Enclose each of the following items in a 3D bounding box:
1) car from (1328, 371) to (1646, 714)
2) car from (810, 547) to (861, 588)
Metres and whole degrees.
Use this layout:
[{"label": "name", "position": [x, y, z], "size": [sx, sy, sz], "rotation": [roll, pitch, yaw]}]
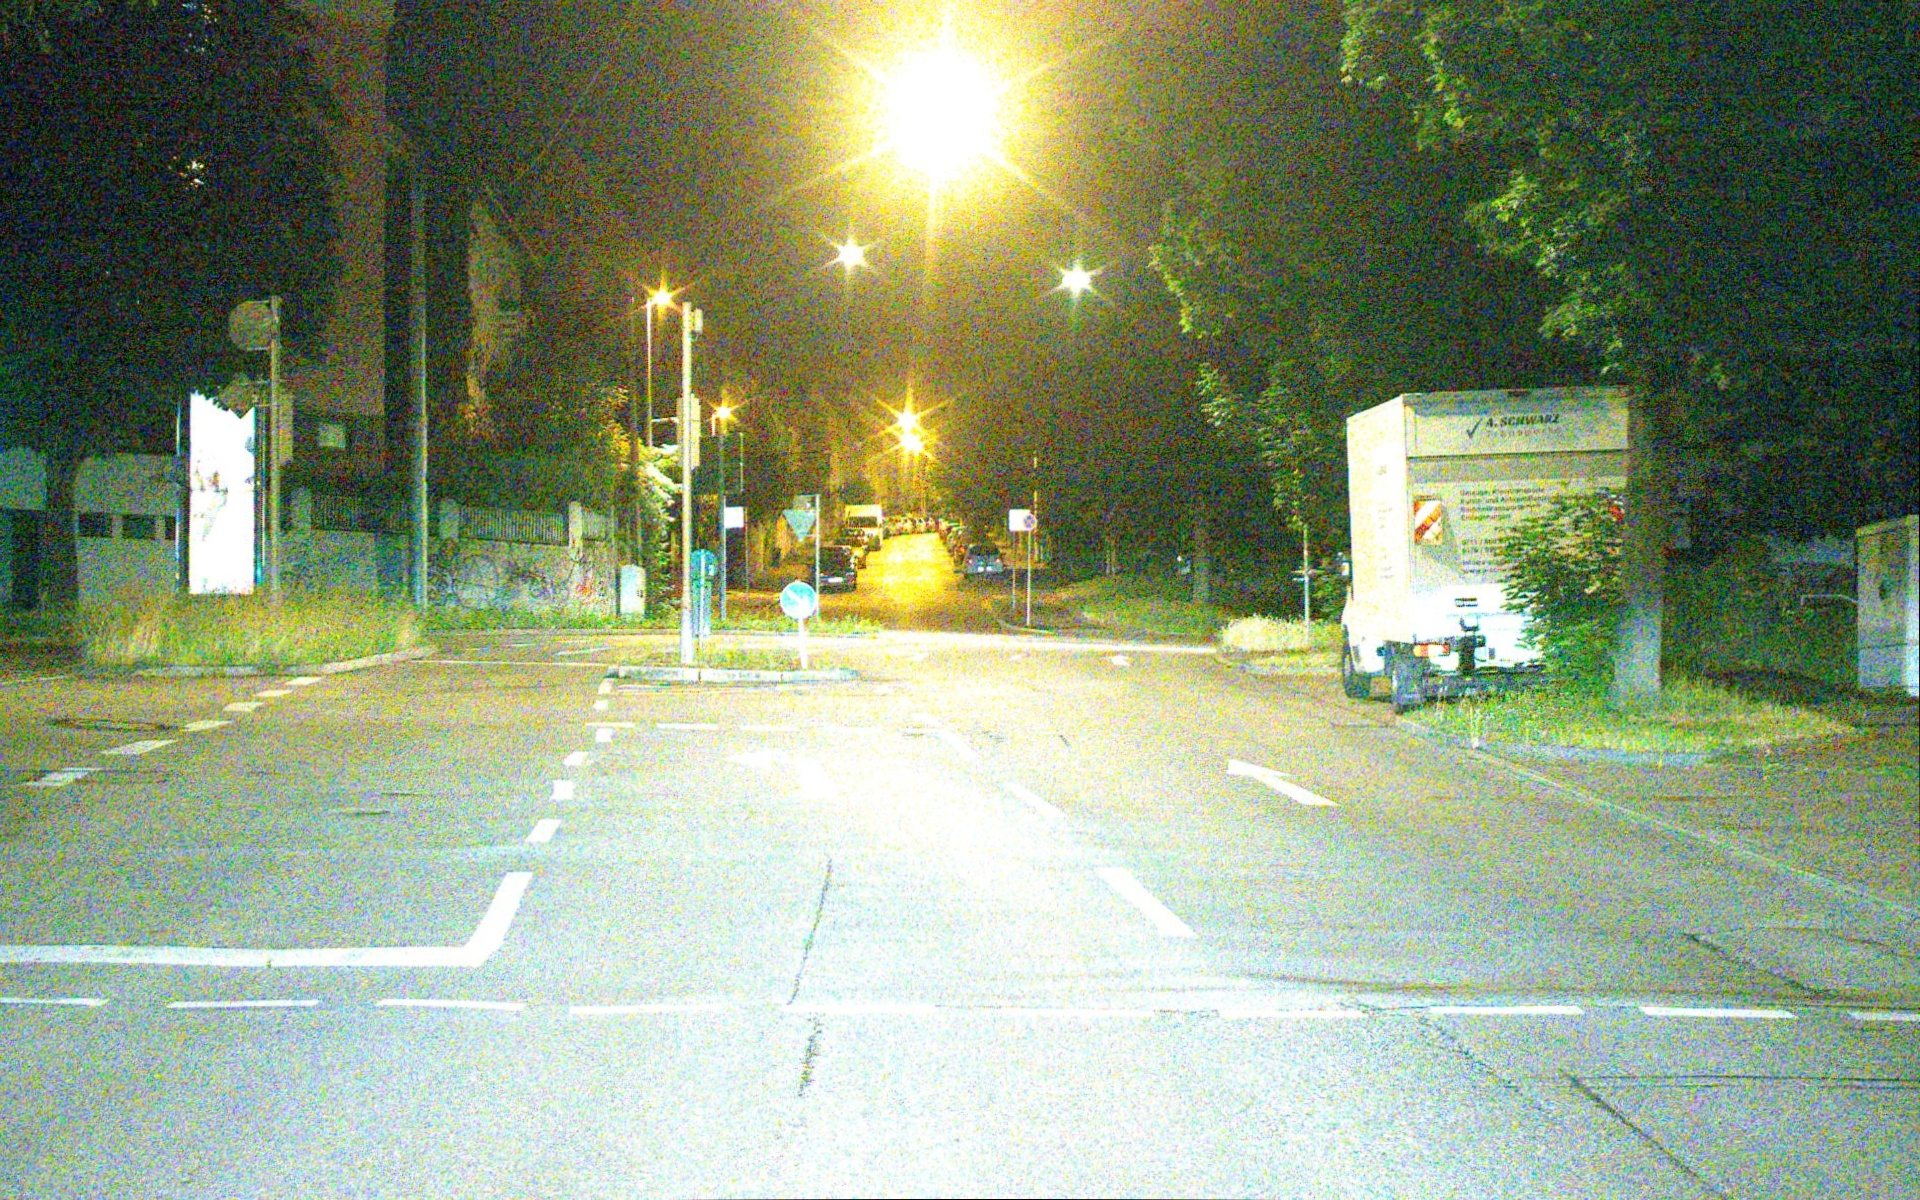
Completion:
[{"label": "car", "position": [5.119, -0.559, 34.273], "size": [2.297, 3.082, 5.840], "rotation": [-1, 1, 1]}, {"label": "car", "position": [-4.851, -1.289, 134.354], "size": [1.908, 1.552, 3.904], "rotation": [1, 1, -1]}]
